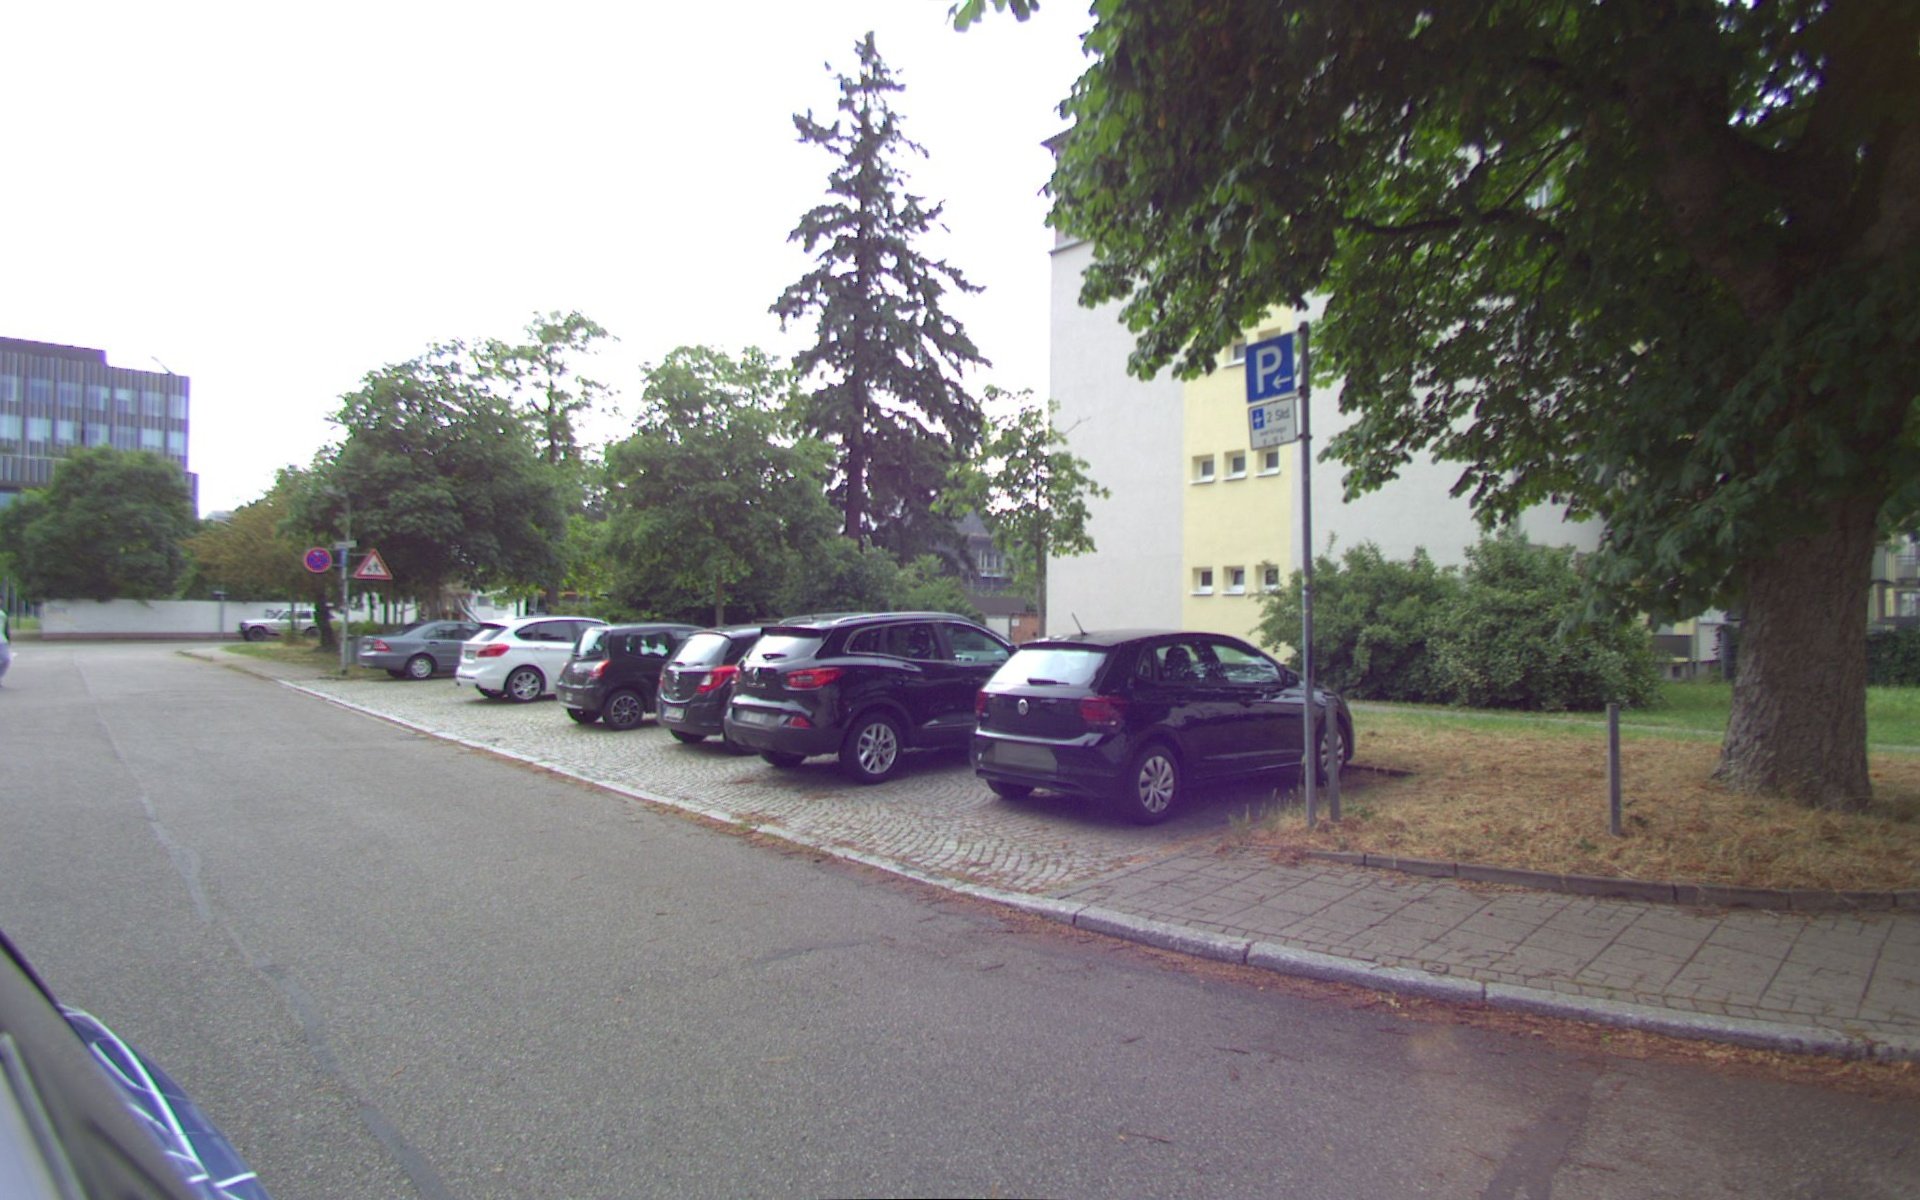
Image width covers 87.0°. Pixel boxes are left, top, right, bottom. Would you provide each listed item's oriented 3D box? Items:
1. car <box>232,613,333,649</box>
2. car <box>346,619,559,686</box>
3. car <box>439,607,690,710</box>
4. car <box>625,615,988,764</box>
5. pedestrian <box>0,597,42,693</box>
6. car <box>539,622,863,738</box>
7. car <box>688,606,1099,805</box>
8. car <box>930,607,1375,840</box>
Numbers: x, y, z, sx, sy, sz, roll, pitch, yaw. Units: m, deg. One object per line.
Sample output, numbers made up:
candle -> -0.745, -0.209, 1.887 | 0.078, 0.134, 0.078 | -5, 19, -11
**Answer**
car -> -38.387, 1.716, 57.381 | 2.001, 1.873, 4.429 | 2, 1, 44
car -> -12.585, 1.240, 25.330 | 1.680, 1.465, 4.495 | -1, -1, 43
car -> -7.558, 1.032, 19.559 | 4.086, 1.572, 1.887 | -3, 2, -42
car -> -1.870, 1.003, 13.044 | 4.287, 1.578, 1.845 | 0, -1, -39
pedestrian -> -19.056, 0.875, 19.904 | 1.204, 1.850, 0.877 | 0, -2, 7
car -> -3.885, 1.109, 15.601 | 4.487, 1.475, 1.845 | 0, -1, -39
car -> -0.612, 0.930, 10.772 | 4.003, 1.710, 1.920 | 0, -1, -39
car -> 1.787, 0.903, 8.832 | 3.781, 1.589, 1.834 | 2, -2, -40
